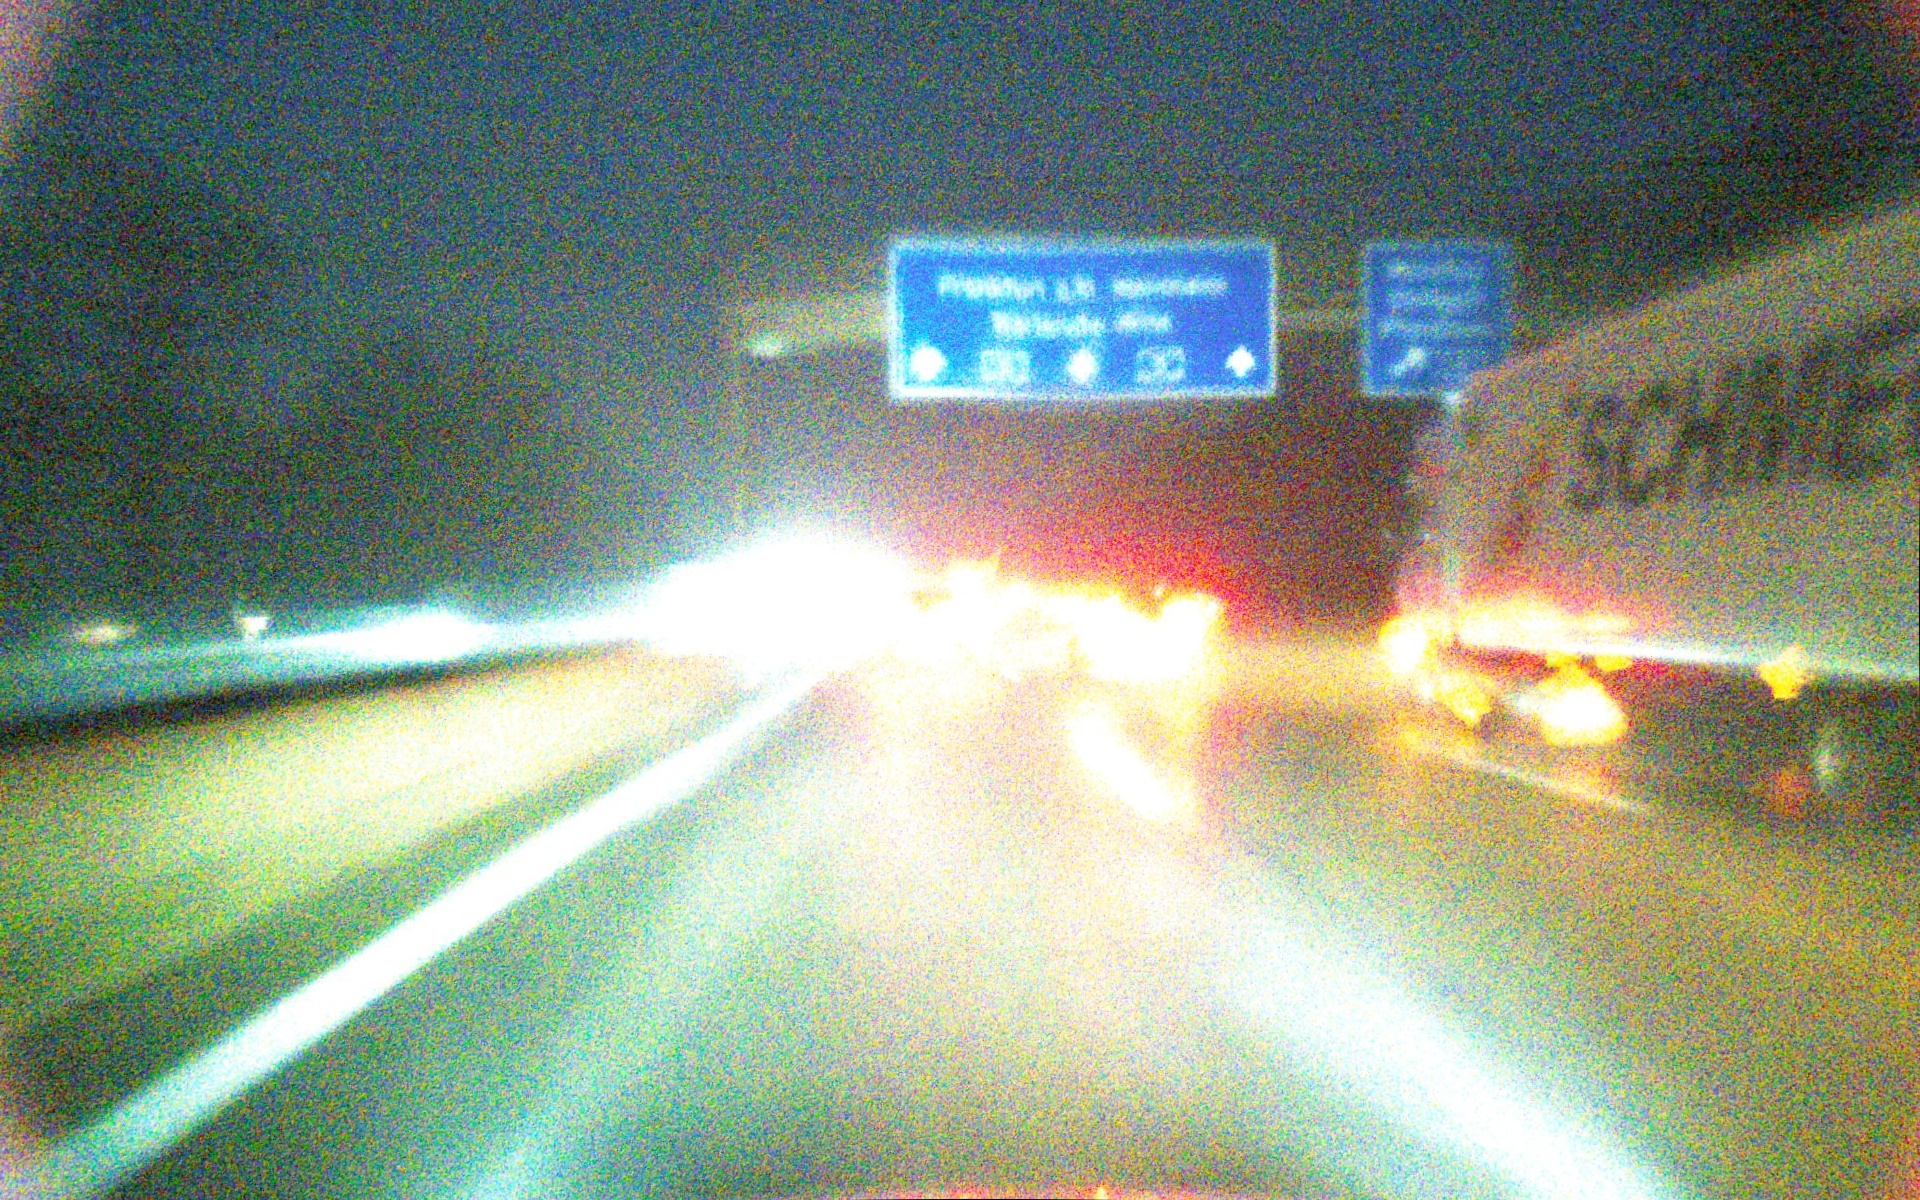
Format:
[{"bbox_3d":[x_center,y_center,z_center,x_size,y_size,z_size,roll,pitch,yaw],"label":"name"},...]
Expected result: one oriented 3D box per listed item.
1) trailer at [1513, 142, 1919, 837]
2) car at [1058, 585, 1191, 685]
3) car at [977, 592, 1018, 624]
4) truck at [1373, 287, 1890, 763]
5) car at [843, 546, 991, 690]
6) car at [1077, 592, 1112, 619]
[{"bbox_3d":[7.264,-0.673,11.206,2.747,4.286,12.093,1,0,-1],"label":"trailer"},{"bbox_3d":[2.820,0.570,29.102,1.846,1.616,3.999,1,0,-1],"label":"car"},{"bbox_3d":[2.005,0.434,89.434,2.093,1.646,4.000,1,0,0],"label":"car"},{"bbox_3d":[7.117,-0.692,18.932,2.747,4.341,7.446,1,0,-1],"label":"truck"},{"bbox_3d":[-0.914,0.307,33.568,2.655,2.578,5.828,-2,1,-3],"label":"car"},{"bbox_3d":[8.559,0.365,105.498,1.818,1.646,4.000,1,0,0],"label":"car"}]
